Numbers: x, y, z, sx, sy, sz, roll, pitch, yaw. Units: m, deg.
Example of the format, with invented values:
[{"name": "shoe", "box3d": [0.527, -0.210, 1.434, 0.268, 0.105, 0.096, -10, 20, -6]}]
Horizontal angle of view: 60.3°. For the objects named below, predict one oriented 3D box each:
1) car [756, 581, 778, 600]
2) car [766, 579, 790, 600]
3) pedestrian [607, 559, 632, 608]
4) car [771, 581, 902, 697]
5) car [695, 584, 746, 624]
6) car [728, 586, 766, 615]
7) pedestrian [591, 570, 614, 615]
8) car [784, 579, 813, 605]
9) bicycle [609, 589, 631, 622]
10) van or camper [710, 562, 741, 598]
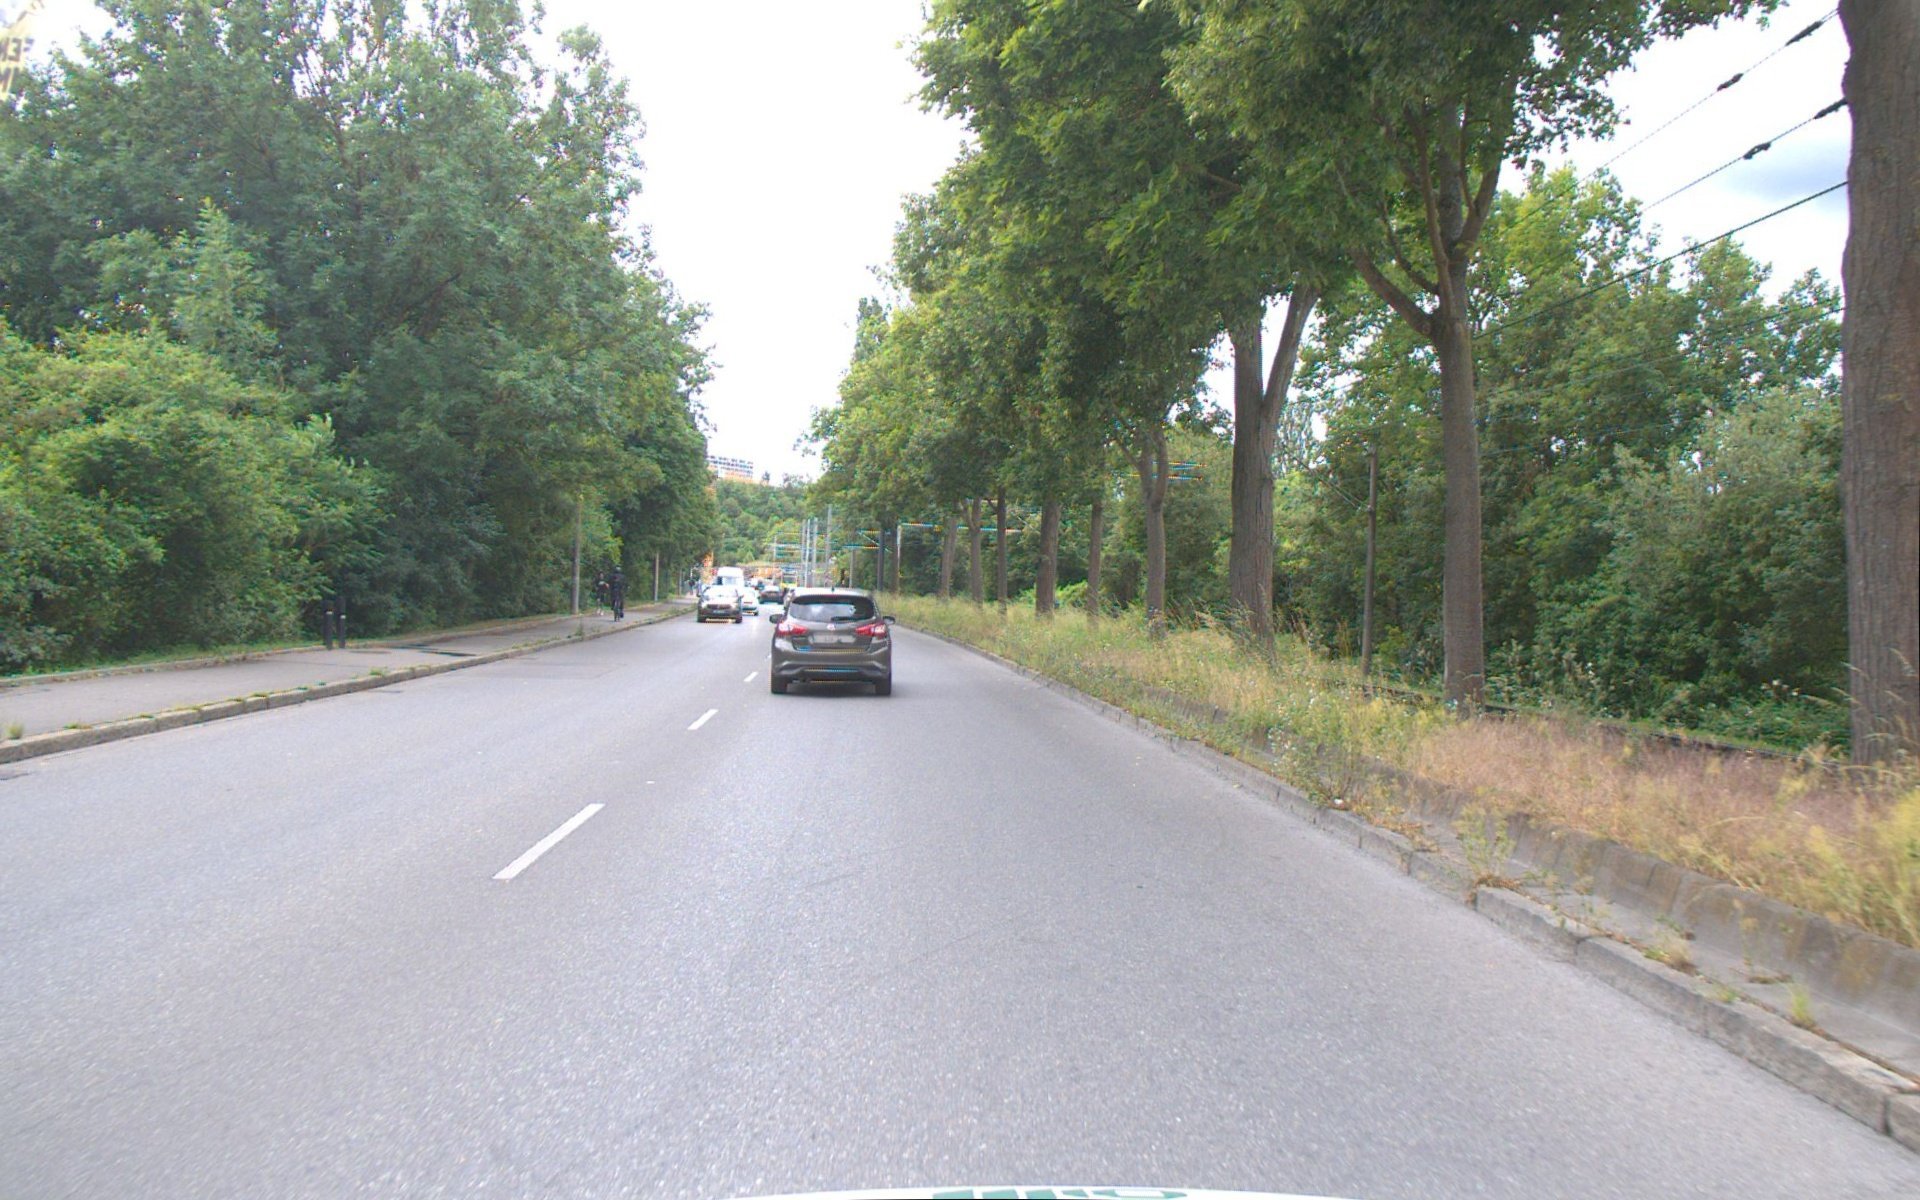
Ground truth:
[{"name": "car", "box3d": [-17.544, -0.880, 150.464, 1.741, 1.497, 3.997, 3, 1, -4]}, {"name": "car", "box3d": [-14.962, -0.855, 136.112, 1.741, 1.497, 3.997, 4, 1, -4]}, {"name": "pedestrian", "box3d": [-11.588, -0.565, 56.320, 0.605, 1.598, 0.849, 4, 1, -2]}, {"name": "car", "box3d": [-1.808, 0.527, 24.998, 1.780, 1.534, 3.998, 1, 1, -3]}, {"name": "car", "box3d": [-9.760, 0.156, 67.719, 1.715, 1.489, 3.917, 3, 0, -4]}, {"name": "car", "box3d": [-11.086, 0.012, 86.279, 1.691, 1.353, 3.473, 3, 1, -4]}, {"name": "pedestrian", "box3d": [-13.770, -0.292, 63.699, 0.682, 1.649, 0.684, 4, 1, -3]}, {"name": "car", "box3d": [-10.529, -0.518, 107.787, 1.742, 1.497, 3.995, 4, 1, -7]}, {"name": "bicycle", "box3d": [-11.582, 0.183, 56.368, 0.478, 1.048, 1.124, 4, 1, -2]}, {"name": "van or camper", "box3d": [-15.554, -1.327, 109.873, 1.889, 2.188, 3.926, 4, 1, -7]}]
